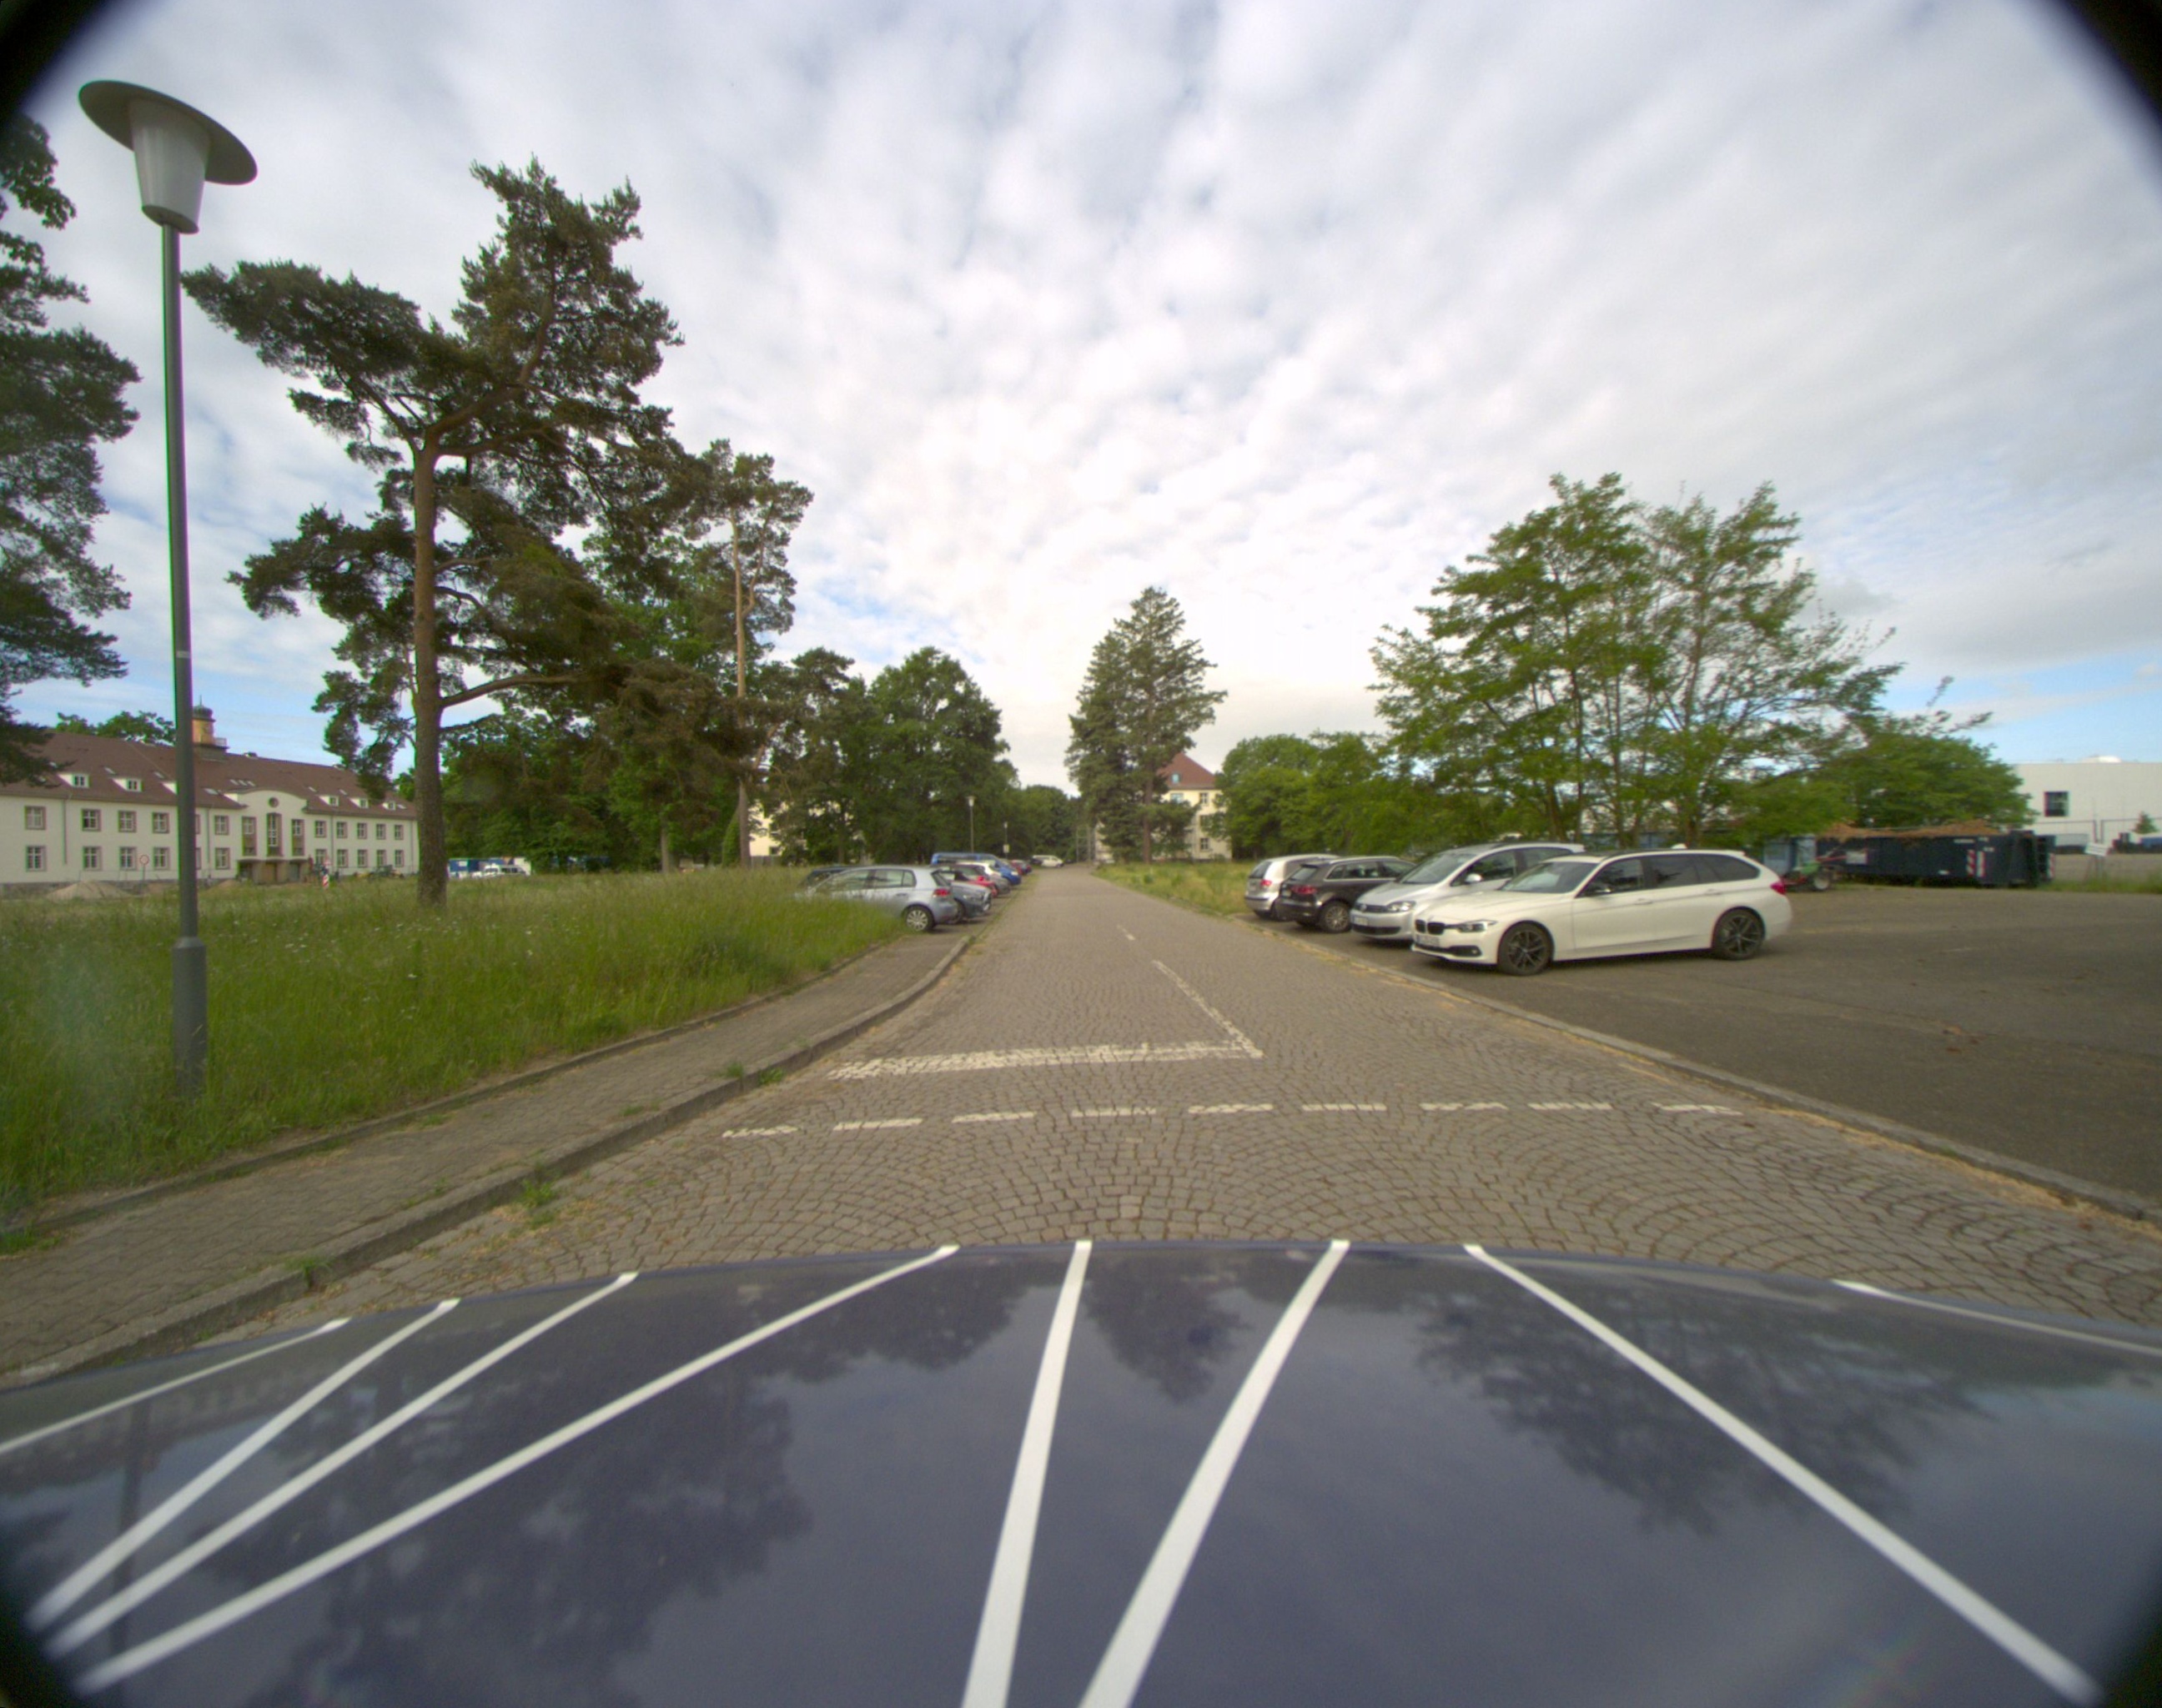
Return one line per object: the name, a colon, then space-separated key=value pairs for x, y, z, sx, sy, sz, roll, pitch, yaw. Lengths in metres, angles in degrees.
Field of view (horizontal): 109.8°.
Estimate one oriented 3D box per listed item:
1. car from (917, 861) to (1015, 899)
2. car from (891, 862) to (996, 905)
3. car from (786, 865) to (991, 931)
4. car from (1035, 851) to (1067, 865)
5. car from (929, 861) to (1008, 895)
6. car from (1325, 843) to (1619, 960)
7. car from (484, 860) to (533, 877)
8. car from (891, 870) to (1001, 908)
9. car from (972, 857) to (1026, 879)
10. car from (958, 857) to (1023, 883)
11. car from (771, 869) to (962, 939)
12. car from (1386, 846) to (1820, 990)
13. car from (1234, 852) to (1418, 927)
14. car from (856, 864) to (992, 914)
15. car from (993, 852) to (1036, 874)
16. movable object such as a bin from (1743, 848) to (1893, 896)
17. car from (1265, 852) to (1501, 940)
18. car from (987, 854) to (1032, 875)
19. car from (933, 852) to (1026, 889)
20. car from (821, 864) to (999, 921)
car: x=-4.820 y=1.080 z=32.229 sx=3.849 sy=1.448 sz=1.820 roll=-1 pitch=0 yaw=0
car: x=-5.249 y=1.117 z=29.324 sx=3.787 sy=1.497 sz=1.798 roll=-1 pitch=0 yaw=-4
car: x=-4.724 y=1.074 z=19.236 sx=4.771 sy=1.474 sz=1.761 roll=-1 pitch=0 yaw=-5
car: x=-4.889 y=0.636 z=123.308 sx=5.031 sy=2.164 sz=2.000 roll=-1 pitch=0 yaw=0
car: x=-5.148 y=1.081 z=35.042 sx=3.409 sy=1.443 sz=1.637 roll=-1 pitch=0 yaw=-1
car: x=6.382 y=0.721 z=12.630 sx=3.999 sy=1.538 sz=1.723 roll=-3 pitch=1 yaw=-7
car: x=-71.168 y=1.793 z=94.576 sx=2.154 sy=2.002 sz=5.224 roll=-1 pitch=0 yaw=1
car: x=-4.669 y=1.200 z=26.620 sx=3.600 sy=1.200 sz=1.494 roll=-1 pitch=0 yaw=-1
car: x=-6.417 y=1.098 z=59.704 sx=3.998 sy=1.521 sz=2.000 roll=-2 pitch=0 yaw=-2
car: x=-5.833 y=1.023 z=49.389 sx=3.998 sy=1.601 sz=2.000 roll=-1 pitch=0 yaw=-2
car: x=-4.555 y=1.037 z=16.549 sx=3.775 sy=1.418 sz=1.605 roll=0 pitch=0 yaw=-6
car: x=6.755 y=0.759 z=10.108 sx=4.661 sy=1.435 sz=1.801 roll=-3 pitch=1 yaw=-6
car: x=5.749 y=0.789 z=18.059 sx=3.689 sy=1.444 sz=1.807 roll=-4 pitch=1 yaw=-7
car: x=-4.945 y=1.081 z=24.358 sx=3.972 sy=1.443 sz=1.799 roll=-1 pitch=0 yaw=-2
car: x=-6.453 y=0.848 z=74.355 sx=3.997 sy=2.002 sz=2.000 roll=-1 pitch=0 yaw=-1
movable object such as a bin: x=18.989 y=0.456 z=19.669 sx=2.397 sy=1.154 sz=1.500 roll=-1 pitch=0 yaw=3
car: x=5.969 y=0.799 z=15.316 sx=3.998 sy=1.419 sz=1.750 roll=-4 pitch=1 yaw=-3
car: x=-6.542 y=0.953 z=69.953 sx=4.008 sy=1.752 sz=2.000 roll=-1 pitch=0 yaw=-1
car: x=-5.329 y=0.839 z=40.462 sx=4.750 sy=1.928 sz=1.999 roll=0 pitch=0 yaw=-2
car: x=-4.854 y=1.084 z=22.098 sx=4.770 sy=1.474 sz=1.812 roll=-1 pitch=0 yaw=-2
